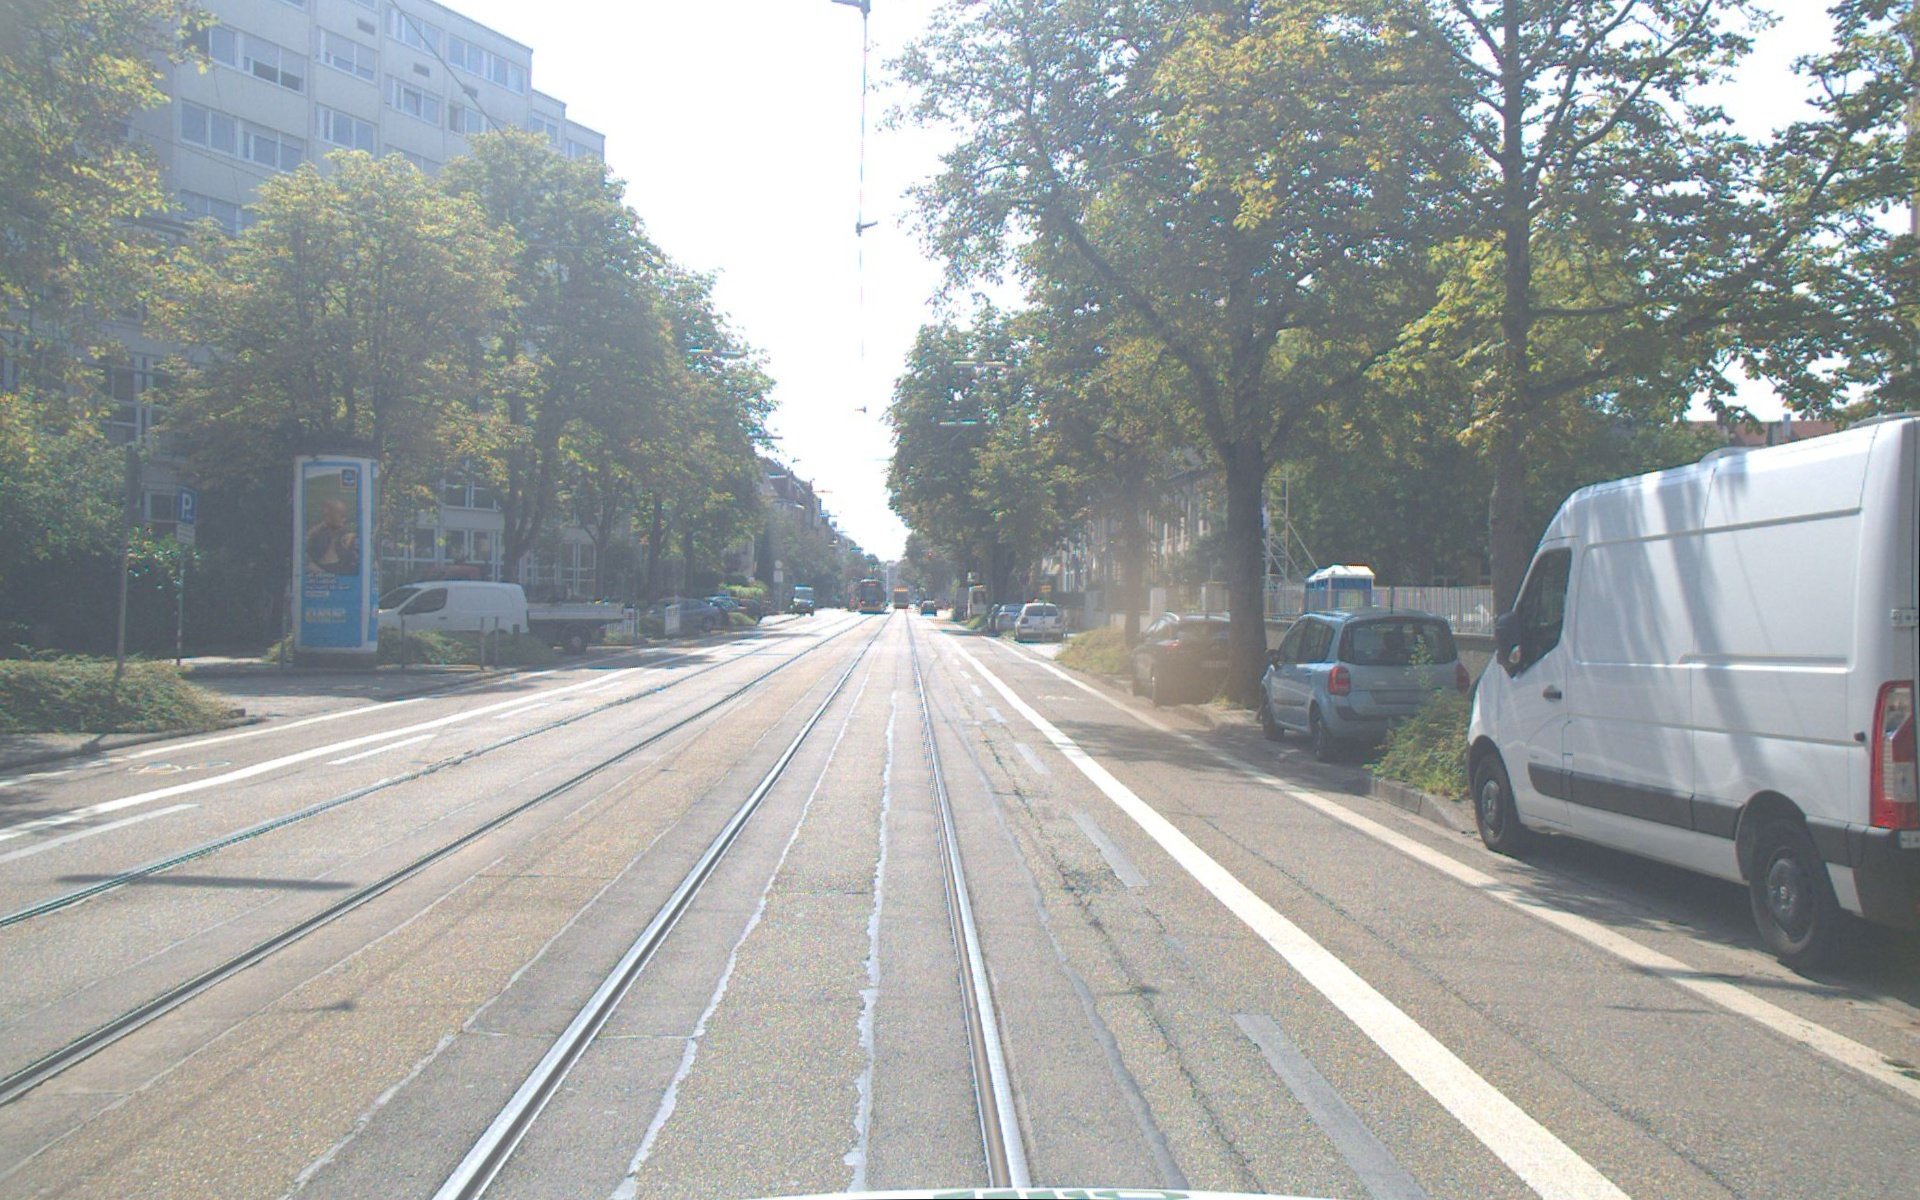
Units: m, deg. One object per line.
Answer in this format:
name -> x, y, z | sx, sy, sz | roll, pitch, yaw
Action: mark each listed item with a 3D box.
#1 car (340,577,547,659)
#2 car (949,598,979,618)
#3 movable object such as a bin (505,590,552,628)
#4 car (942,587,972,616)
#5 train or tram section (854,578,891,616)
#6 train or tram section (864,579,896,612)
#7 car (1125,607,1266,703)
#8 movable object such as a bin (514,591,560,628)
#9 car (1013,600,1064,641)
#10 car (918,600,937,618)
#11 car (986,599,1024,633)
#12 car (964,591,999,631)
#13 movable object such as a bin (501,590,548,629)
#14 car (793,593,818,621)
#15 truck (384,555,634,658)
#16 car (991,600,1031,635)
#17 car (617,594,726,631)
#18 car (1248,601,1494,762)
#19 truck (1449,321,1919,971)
car -> -11.929, 0.401, 38.356 | 1.795, 1.803, 4.255 | 0, 0, 45
car -> 0.279, 0.579, 123.651 | 1.954, 1.422, 3.996 | 1, 0, -5
movable object such as a bin -> -18.206, 0.377, 69.851 | 1.649, 1.586, 1.353 | 0, 0, -3
car -> -0.265, 0.108, 130.458 | 1.955, 2.272, 3.994 | 0, 0, -7
train or tram section -> -9.163, -0.376, 174.514 | 3.426, 3.769, 12.409 | 1, 0, -1
train or tram section -> -9.560, -0.574, 199.354 | 3.426, 3.769, 12.409 | 1, 0, -1
car -> 3.990, 0.888, 28.676 | 1.640, 1.483, 4.662 | 0, 0, -2
movable object such as a bin -> -18.236, 0.392, 71.327 | 1.649, 1.586, 1.353 | 0, 0, -3
car -> 2.912, 0.760, 62.192 | 1.754, 1.471, 3.733 | -1, 0, 0
car -> -3.351, 0.909, 170.124 | 1.953, 1.832, 3.999 | 1, 0, -2
car -> 2.189, 0.764, 81.839 | 1.757, 1.604, 4.000 | 1, 0, 0
car -> 1.333, 0.711, 103.398 | 1.953, 2.407, 3.999 | 1, 0, -2
movable object such as a bin -> -17.978, 0.376, 68.304 | 1.649, 1.586, 1.353 | 0, 0, -3
car -> -14.286, 0.667, 152.685 | 2.198, 2.484, 3.995 | 1, 0, -5
truck -> -11.526, 0.157, 42.573 | 5.916, 2.477, 2.119 | 0, 0, -42
car -> 2.299, 0.802, 75.665 | 1.607, 1.538, 3.639 | 1, 0, -2
car -> -12.349, 0.522, 71.104 | 1.646, 1.477, 4.662 | 1, 1, 41
car -> 4.569, 0.848, 19.002 | 1.640, 1.607, 4.170 | -1, 0, -2
truck -> 4.709, 0.202, 9.482 | 1.878, 2.644, 5.589 | 1, 0, -3
